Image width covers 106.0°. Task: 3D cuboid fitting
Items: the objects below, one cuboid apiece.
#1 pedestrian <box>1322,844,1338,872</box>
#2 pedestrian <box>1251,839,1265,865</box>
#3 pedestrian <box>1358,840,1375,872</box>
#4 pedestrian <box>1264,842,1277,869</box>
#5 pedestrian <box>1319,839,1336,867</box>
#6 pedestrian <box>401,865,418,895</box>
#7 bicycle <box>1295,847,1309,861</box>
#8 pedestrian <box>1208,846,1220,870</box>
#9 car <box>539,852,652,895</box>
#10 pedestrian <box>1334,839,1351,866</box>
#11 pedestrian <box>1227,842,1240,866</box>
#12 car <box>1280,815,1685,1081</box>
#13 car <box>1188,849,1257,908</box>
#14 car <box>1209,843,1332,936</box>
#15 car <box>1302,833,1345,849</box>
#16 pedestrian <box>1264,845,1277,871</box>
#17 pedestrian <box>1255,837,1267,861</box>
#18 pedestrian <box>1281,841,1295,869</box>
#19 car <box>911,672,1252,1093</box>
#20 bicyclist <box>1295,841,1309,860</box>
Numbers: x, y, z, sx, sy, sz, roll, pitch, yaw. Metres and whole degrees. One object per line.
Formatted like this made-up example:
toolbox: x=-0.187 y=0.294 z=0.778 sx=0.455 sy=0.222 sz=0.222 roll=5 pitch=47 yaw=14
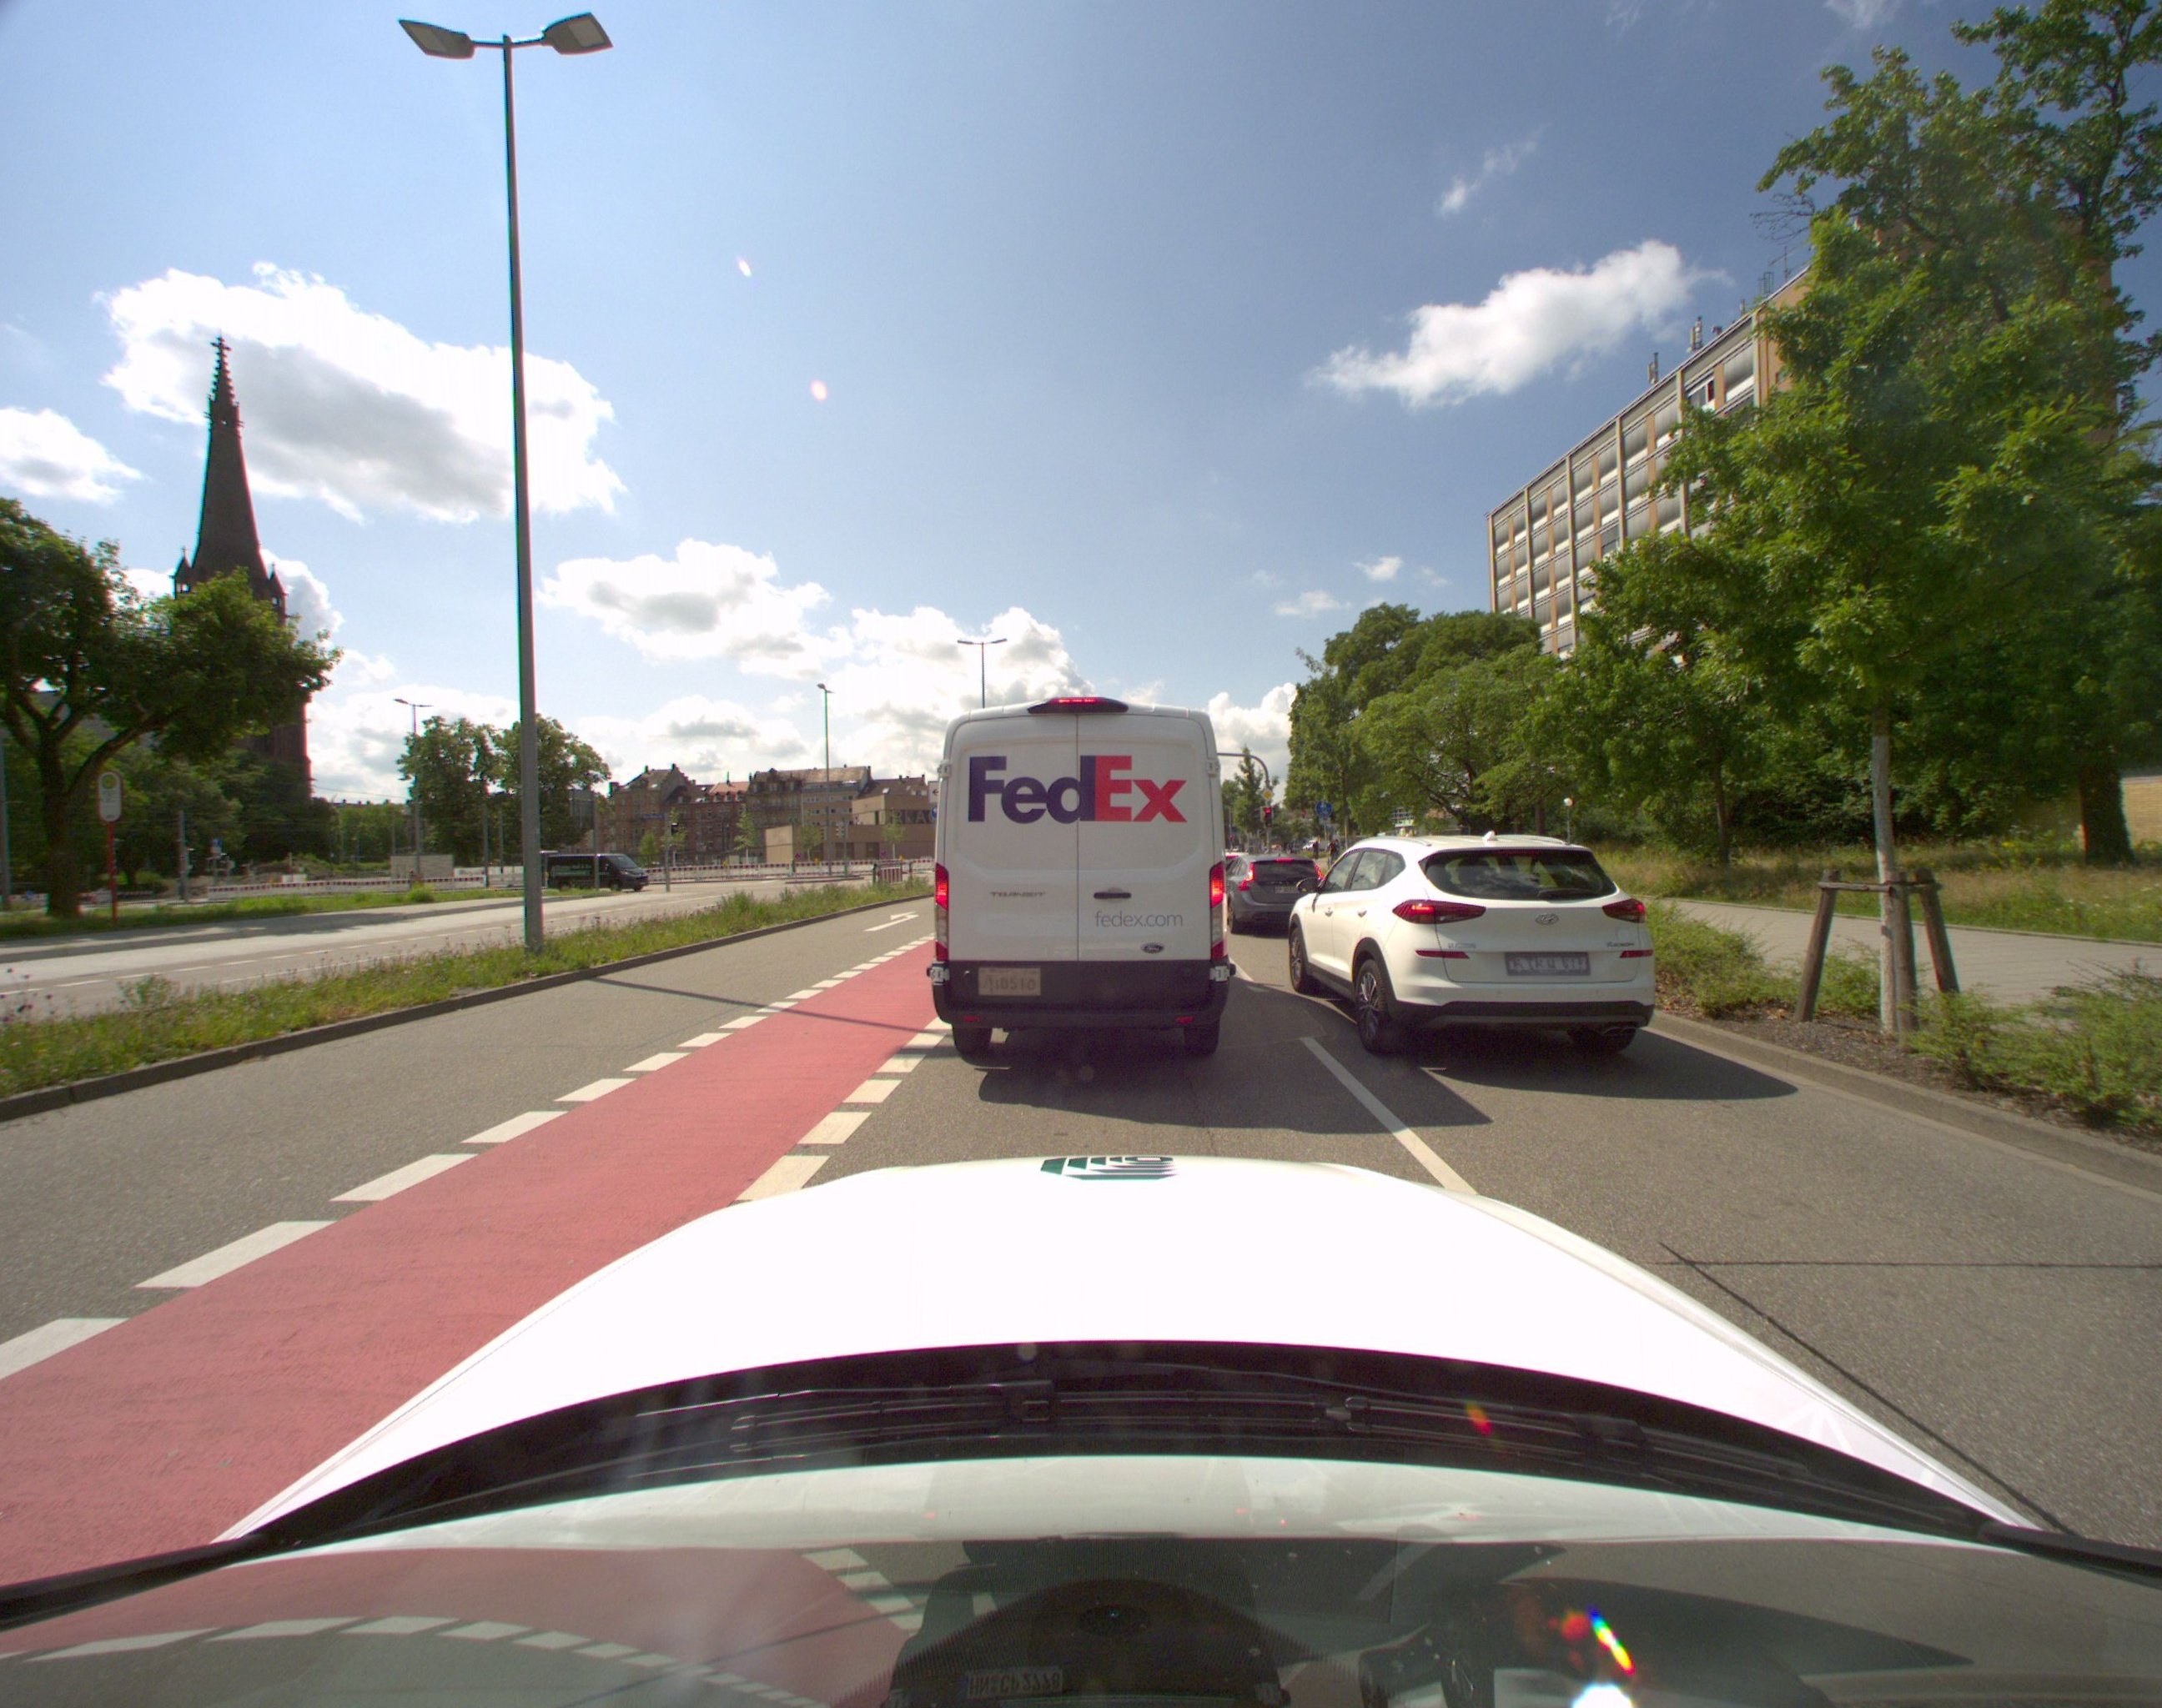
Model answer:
pedestrian: x=15.050 y=0.220 z=49.185 sx=0.755 sy=1.655 sz=0.817 roll=-2 pitch=0 yaw=5
pedestrian: x=13.001 y=-0.138 z=59.824 sx=0.810 sy=1.849 sz=0.762 roll=-2 pitch=0 yaw=5
pedestrian: x=17.067 y=0.099 z=48.697 sx=0.755 sy=1.849 sz=0.817 roll=-2 pitch=0 yaw=4
pedestrian: x=13.148 y=0.101 z=56.538 sx=0.752 sy=1.849 sz=0.820 roll=-2 pitch=0 yaw=20
pedestrian: x=16.818 y=-0.091 z=55.526 sx=0.758 sy=1.849 sz=0.814 roll=-2 pitch=0 yaw=-8
pedestrian: x=-46.952 y=1.808 z=56.959 sx=0.644 sy=2.013 sz=0.632 roll=-2 pitch=0 yaw=-1
bicycle: x=25.552 y=0.014 z=93.953 sx=1.414 sy=1.464 sz=4.330 roll=-2 pitch=0 yaw=17
pedestrian: x=10.436 y=0.278 z=63.873 sx=0.757 sy=1.849 sz=0.815 roll=-2 pitch=0 yaw=-2
car: x=-26.978 y=1.049 z=45.361 sx=4.982 sy=2.175 sz=2.156 roll=-2 pitch=0 yaw=2
pedestrian: x=17.892 y=-0.097 z=55.752 sx=0.758 sy=1.849 sz=0.814 roll=-2 pitch=0 yaw=-6
pedestrian: x=11.789 y=0.022 z=63.042 sx=0.756 sy=1.849 sz=0.816 roll=-2 pitch=0 yaw=-1
car: x=3.071 y=0.599 z=7.253 sx=1.807 sy=1.678 sz=3.978 roll=-2 pitch=0 yaw=3
car: x=3.863 y=0.614 z=22.652 sx=1.493 sy=1.464 sz=3.477 roll=-2 pitch=0 yaw=3
car: x=3.557 y=0.603 z=15.883 sx=1.684 sy=1.549 sz=3.724 roll=-2 pitch=0 yaw=3
car: x=42.081 y=-2.310 z=141.208 sx=7.081 sy=2.717 sz=2.480 roll=0 pitch=-1 yaw=-19
pedestrian: x=13.710 y=0.313 z=58.882 sx=0.753 sy=1.849 sz=0.820 roll=-2 pitch=0 yaw=16
pedestrian: x=14.088 y=-0.359 z=63.685 sx=0.755 sy=1.849 sz=0.817 roll=-2 pitch=0 yaw=5
pedestrian: x=14.027 y=0.083 z=55.173 sx=0.752 sy=1.849 sz=0.820 roll=-2 pitch=0 yaw=20
car: x=0.127 y=0.174 z=7.320 sx=2.064 sy=2.581 sz=4.432 roll=-2 pitch=0 yaw=3
bicyclist: x=25.526 y=-0.378 z=93.895 sx=1.421 sy=2.171 sz=1.345 roll=-2 pitch=0 yaw=17
